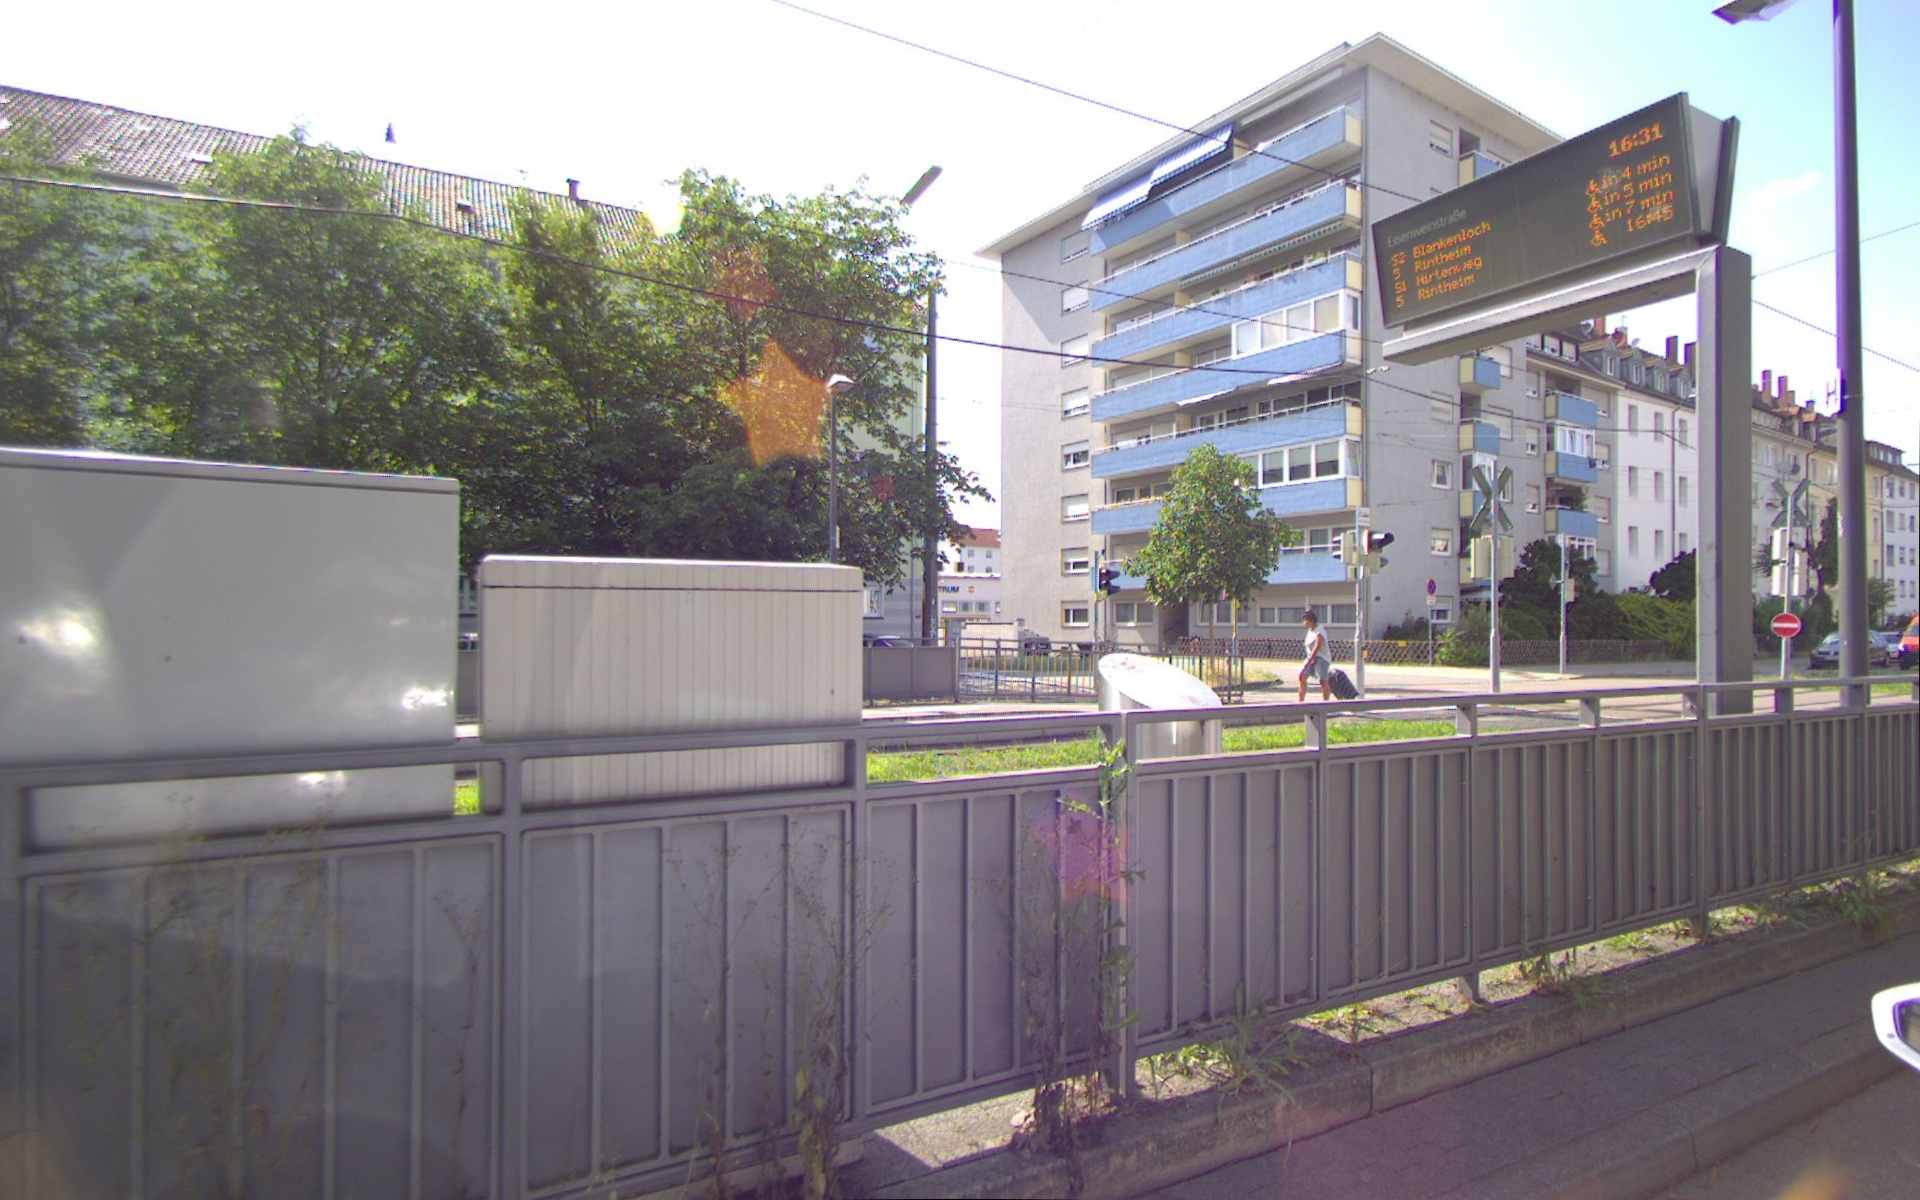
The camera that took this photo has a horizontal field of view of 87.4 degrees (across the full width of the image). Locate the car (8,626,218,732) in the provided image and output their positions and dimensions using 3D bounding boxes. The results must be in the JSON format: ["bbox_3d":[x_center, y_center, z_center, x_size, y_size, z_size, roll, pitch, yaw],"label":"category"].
[{"bbox_3d":[-14.296,1.239,16.919,3.603,1.600,1.645,-1,-1,31],"label":"car"}]

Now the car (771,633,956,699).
[{"bbox_3d":[-2.272,1.494,23.537,4.055,1.412,1.609,-1,-2,24],"label":"car"}]

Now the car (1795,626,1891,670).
[{"bbox_3d":[36.824,1.990,41.896,3.957,1.667,1.982,2,0,-33],"label":"car"}]

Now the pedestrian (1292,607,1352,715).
[{"bbox_3d":[5.795,0.962,16.088,0.624,1.686,0.657,1,-1,-29],"label":"pedestrian"}]

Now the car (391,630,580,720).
[{"bbox_3d":[-9.310,1.389,19.660,3.603,1.600,1.645,-1,-1,31],"label":"car"}]

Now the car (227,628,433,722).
[{"bbox_3d":[-11.444,1.281,18.195,3.959,1.534,1.606,-1,-2,32],"label":"car"}]

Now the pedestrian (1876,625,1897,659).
[{"bbox_3d":[49.469,2.221,53.632,0.857,1.817,0.700,1,-2,-37],"label":"pedestrian"}]

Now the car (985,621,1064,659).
[{"bbox_3d":[3.121,1.933,49.326,1.977,1.706,3.967,2,0,-30],"label":"car"}]

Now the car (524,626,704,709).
[{"bbox_3d":[-7.247,1.341,21.004,3.603,1.600,1.645,-1,-1,31],"label":"car"}]

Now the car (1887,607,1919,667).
[{"bbox_3d":[38.815,1.456,39.760,4.781,2.305,1.982,1,-1,-33],"label":"car"}]

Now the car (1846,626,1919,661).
[{"bbox_3d":[41.758,1.967,45.246,3.957,1.461,1.758,2,0,-33],"label":"car"}]

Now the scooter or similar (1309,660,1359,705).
[{"bbox_3d":[6.196,1.356,16.650,0.692,0.708,0.440,1,-2,-30],"label":"scooter or similar"}]
